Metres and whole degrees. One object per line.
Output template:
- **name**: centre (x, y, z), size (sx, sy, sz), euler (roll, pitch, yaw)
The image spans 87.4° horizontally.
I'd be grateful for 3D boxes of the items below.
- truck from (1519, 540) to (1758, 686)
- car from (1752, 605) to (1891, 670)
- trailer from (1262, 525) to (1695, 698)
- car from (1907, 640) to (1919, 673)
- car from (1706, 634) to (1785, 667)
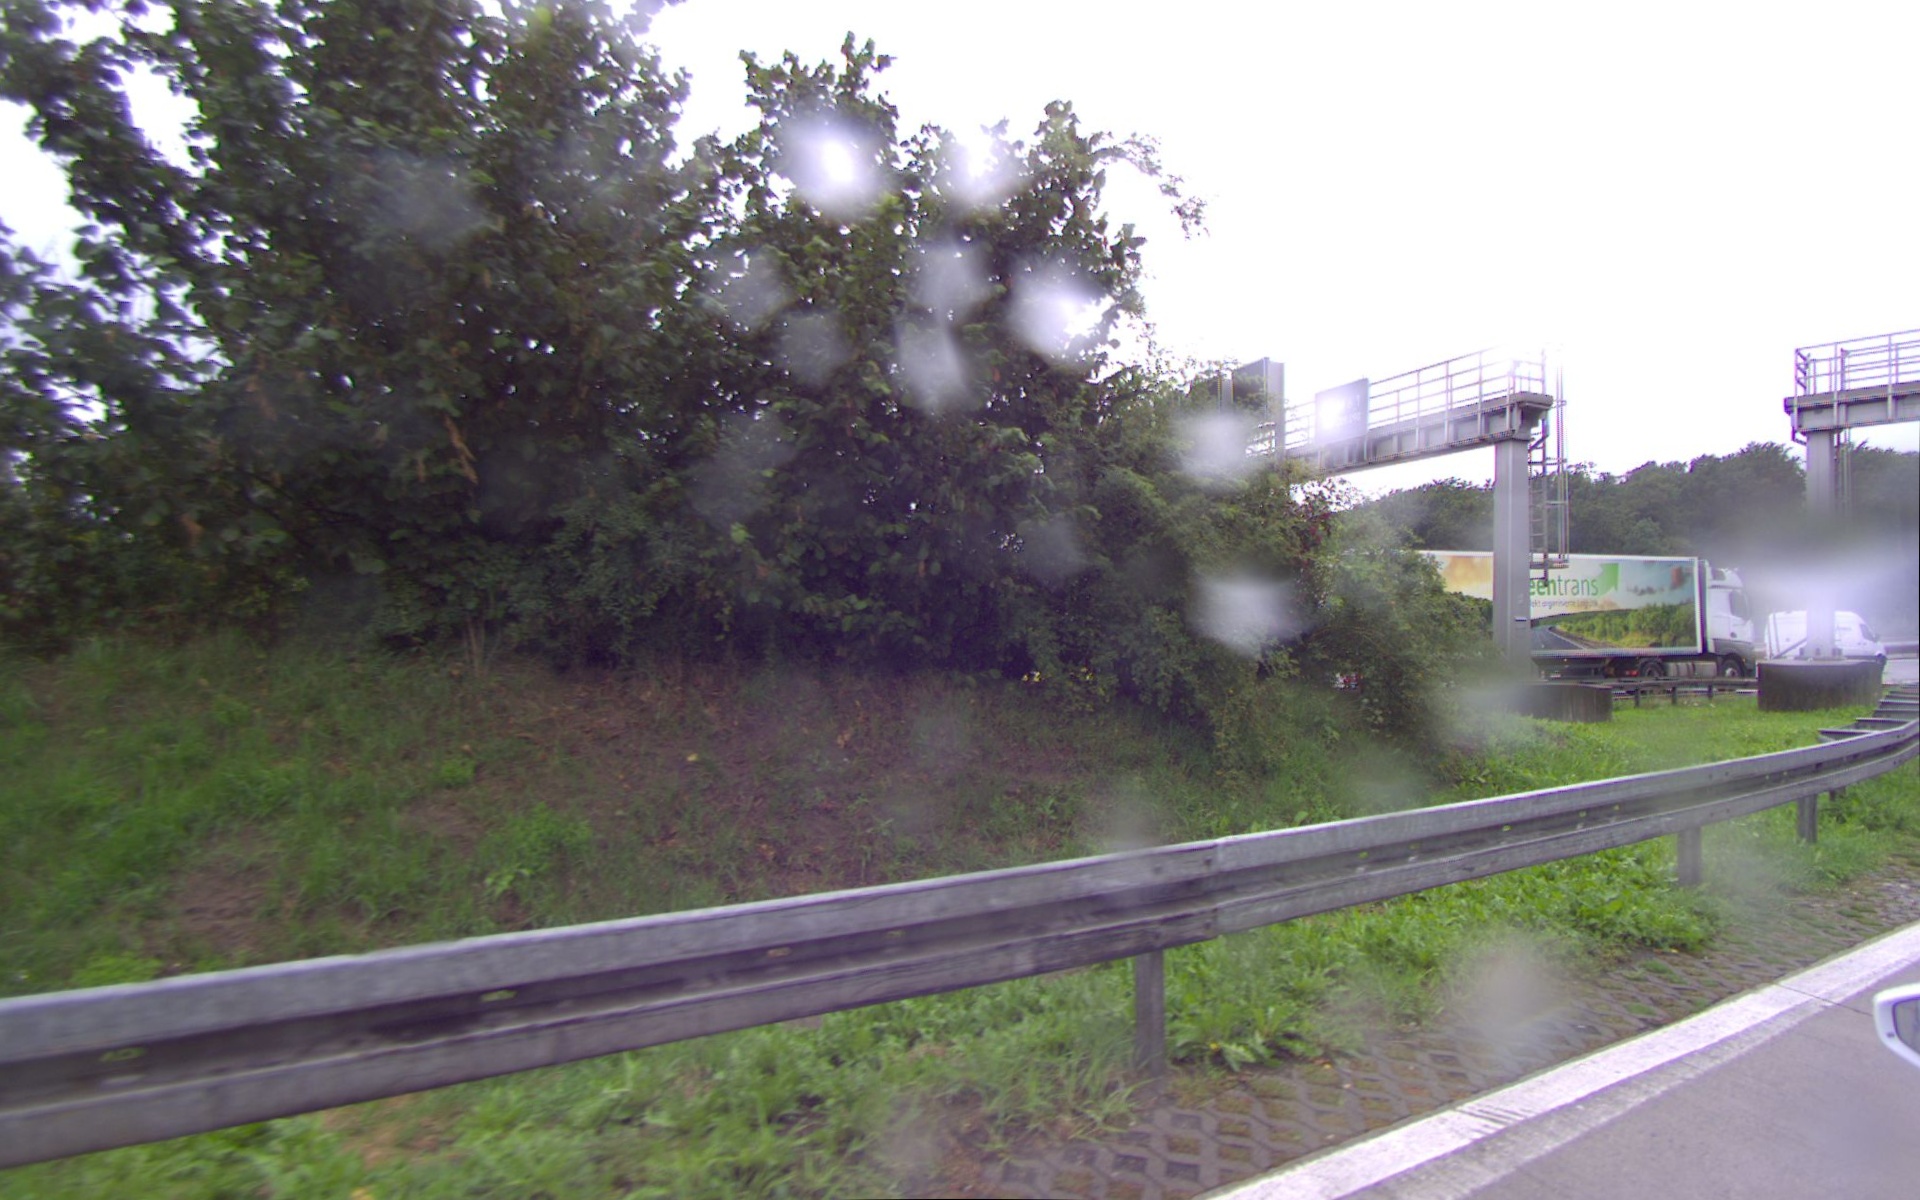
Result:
- **truck**: centre (21.009, 0.462, 31.130), size (6.621, 4.152, 2.913), euler (1, -3, -22)
- **car**: centre (37.020, 1.597, 43.150), size (5.761, 2.664, 2.210), euler (0, -2, -24)
- **trailer**: centre (15.038, 0.423, 28.663), size (13.437, 4.260, 2.913), euler (1, -3, -22)
- **car**: centre (53.296, 3.092, 54.254), size (3.947, 1.750, 1.780), euler (2, 0, -26)
- **car**: centre (43.576, 2.781, 55.726), size (3.943, 1.728, 1.772), euler (0, -2, -23)
